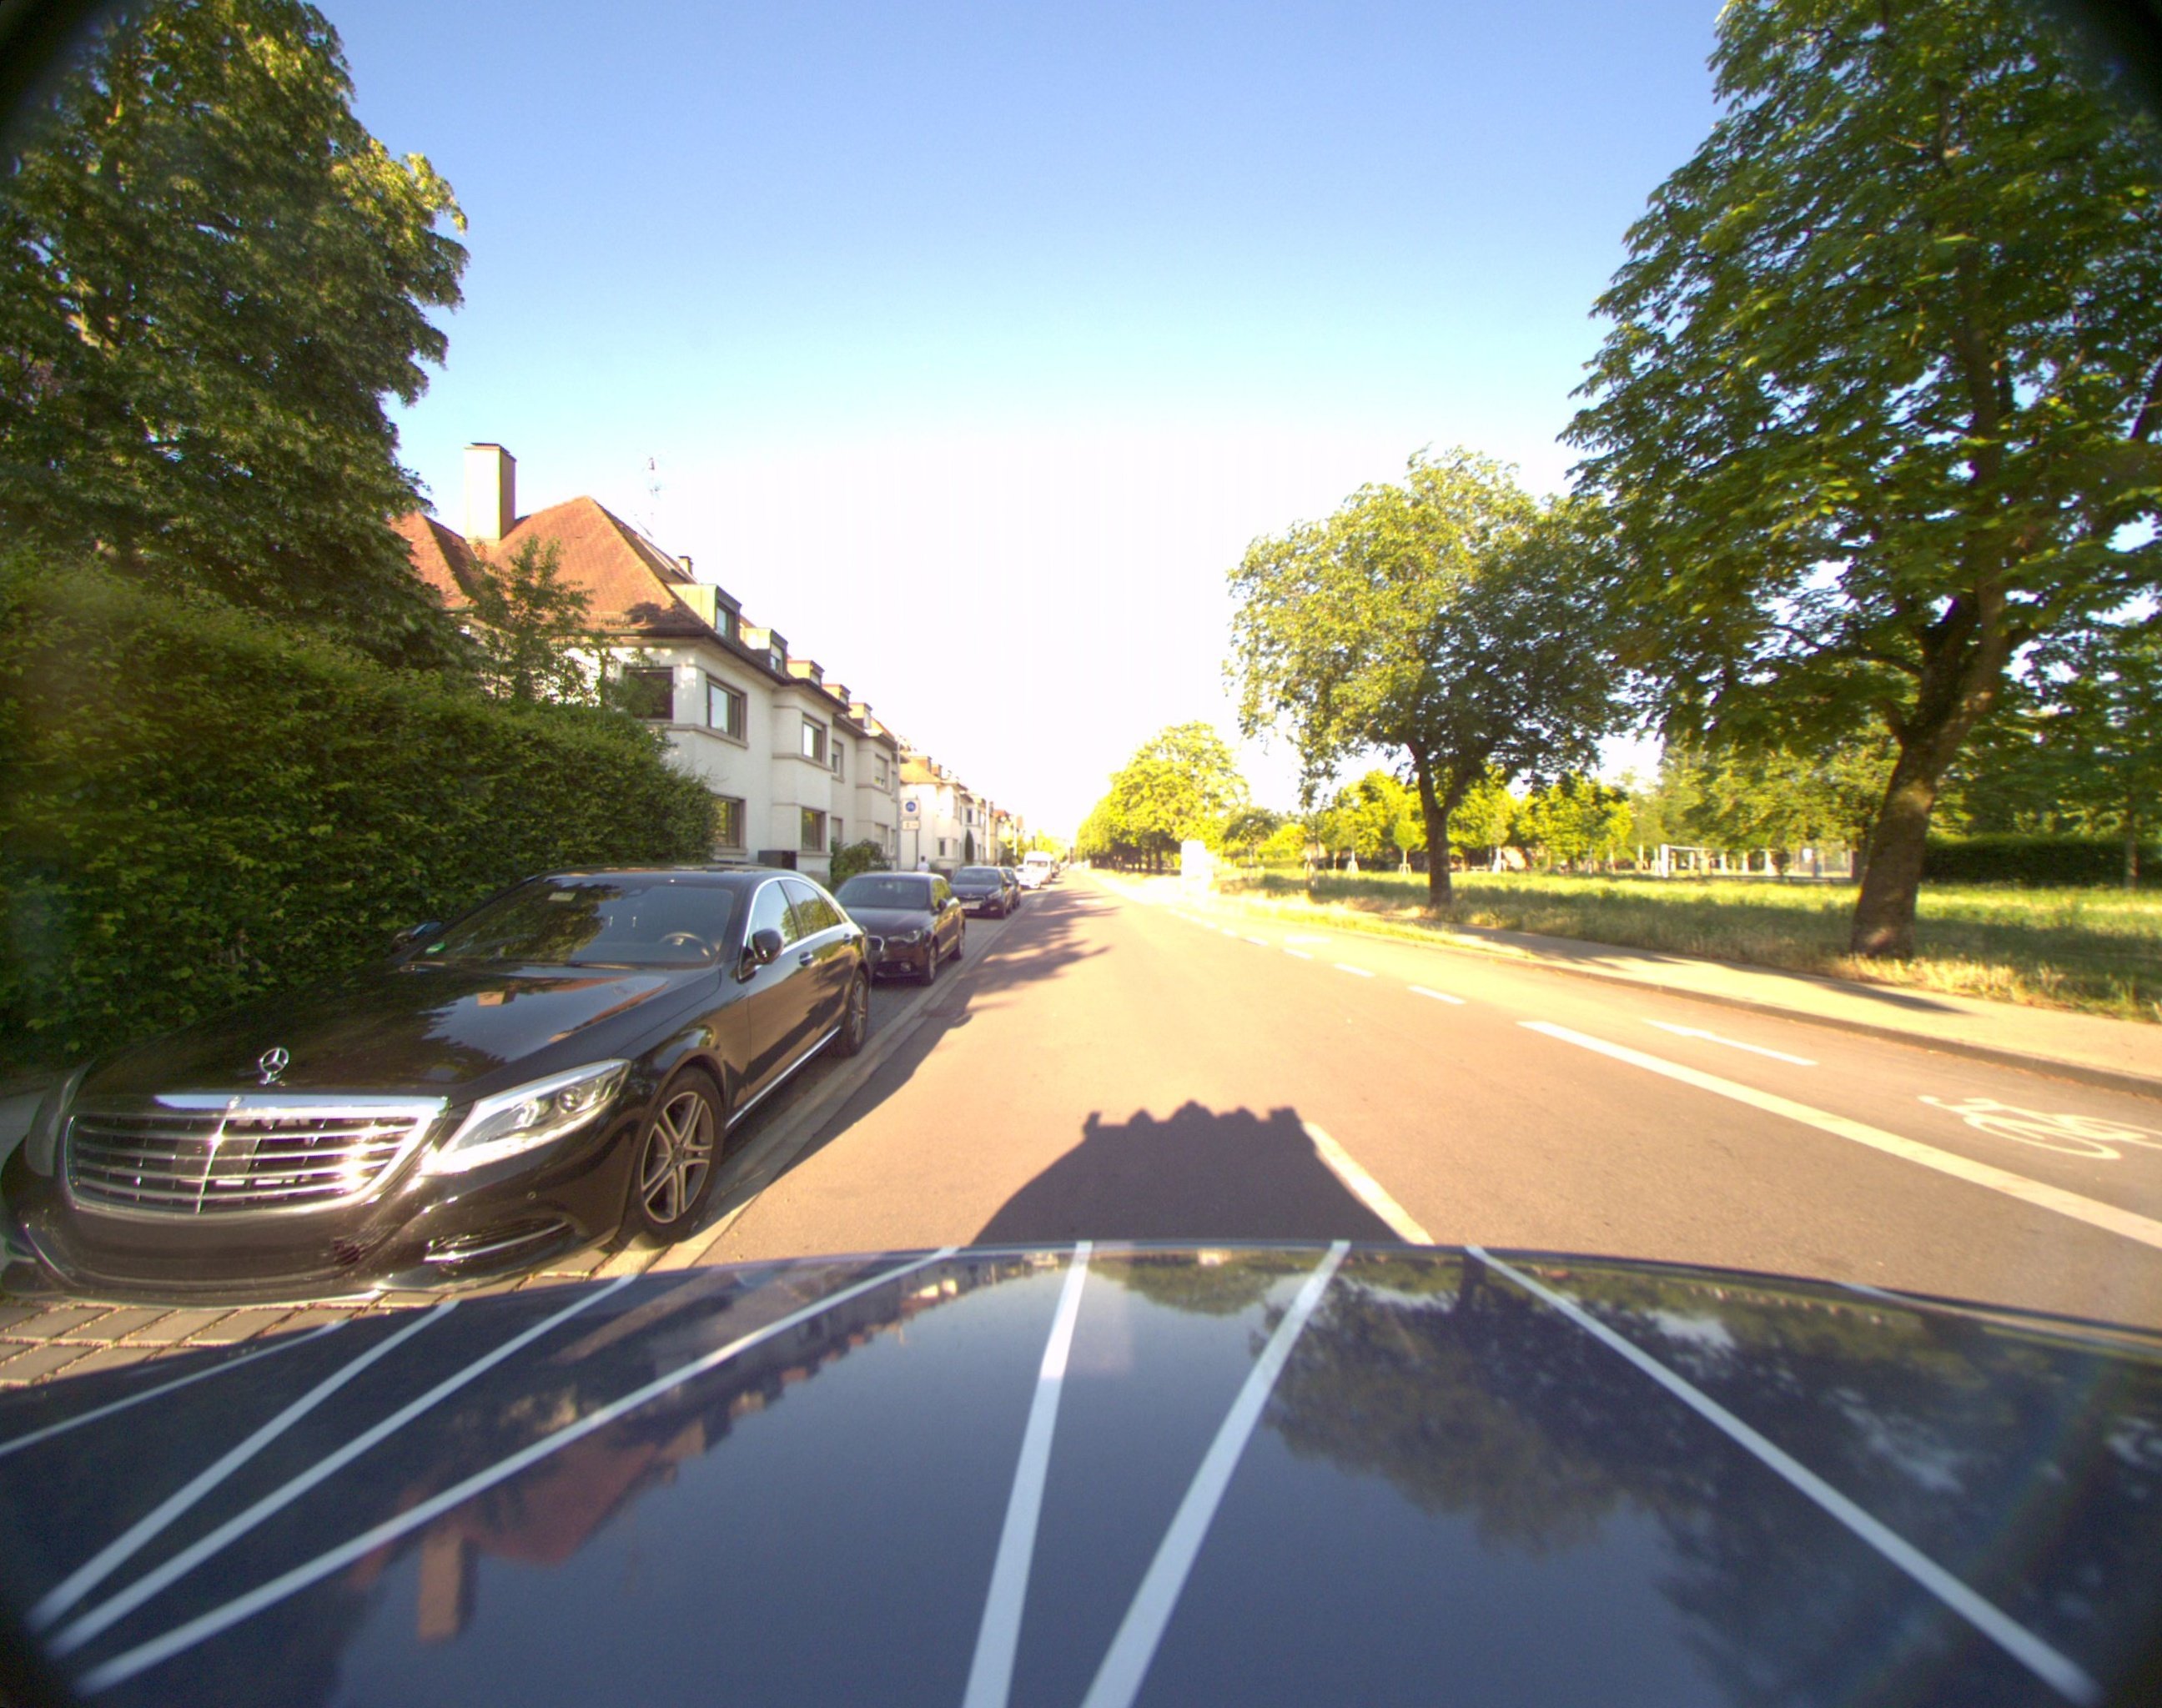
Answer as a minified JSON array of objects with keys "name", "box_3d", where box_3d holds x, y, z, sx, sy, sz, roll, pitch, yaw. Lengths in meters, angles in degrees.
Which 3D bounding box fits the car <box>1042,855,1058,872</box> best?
[{"name":"car","box_3d":[-3.617,1.077,89.172,1.708,1.848,3.712,-2,1,0]}]

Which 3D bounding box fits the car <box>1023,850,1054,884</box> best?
[{"name":"car","box_3d":[-3.274,0.953,59.761,2.132,2.461,5.723,-2,1,-1]}]

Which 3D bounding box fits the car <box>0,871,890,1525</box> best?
[{"name":"car","box_3d":[-2.588,0.899,4.296,2.009,1.489,4.914,1,0,-3]}]

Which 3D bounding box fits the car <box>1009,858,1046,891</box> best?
[{"name":"car","box_3d":[-3.213,1.208,46.596,1.999,1.775,3.999,-2,1,-1]}]

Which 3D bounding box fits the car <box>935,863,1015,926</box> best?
[{"name":"car","box_3d":[-2.971,1.090,22.056,1.796,1.586,4.077,-2,-1,-1]}]

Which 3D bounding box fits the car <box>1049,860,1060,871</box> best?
[{"name":"car","box_3d":[-4.118,1.747,117.191,1.682,1.543,3.842,1,0,-3]}]

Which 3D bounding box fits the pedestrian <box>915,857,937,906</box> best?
[{"name":"pedestrian","box_3d":[-5.934,1.039,29.185,0.587,1.835,0.823,-2,1,1]}]

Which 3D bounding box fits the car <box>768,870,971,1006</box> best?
[{"name":"car","box_3d":[-2.736,1.006,10.777,1.784,1.469,4.000,-2,-1,-1]}]

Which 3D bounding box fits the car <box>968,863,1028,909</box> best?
[{"name":"car","box_3d":[-2.945,1.120,27.607,1.680,1.525,3.472,-2,-1,1]}]

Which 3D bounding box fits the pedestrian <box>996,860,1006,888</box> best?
[{"name":"pedestrian","box_3d":[-5.131,1.277,48.755,0.531,1.787,0.589,-2,1,-2]}]
